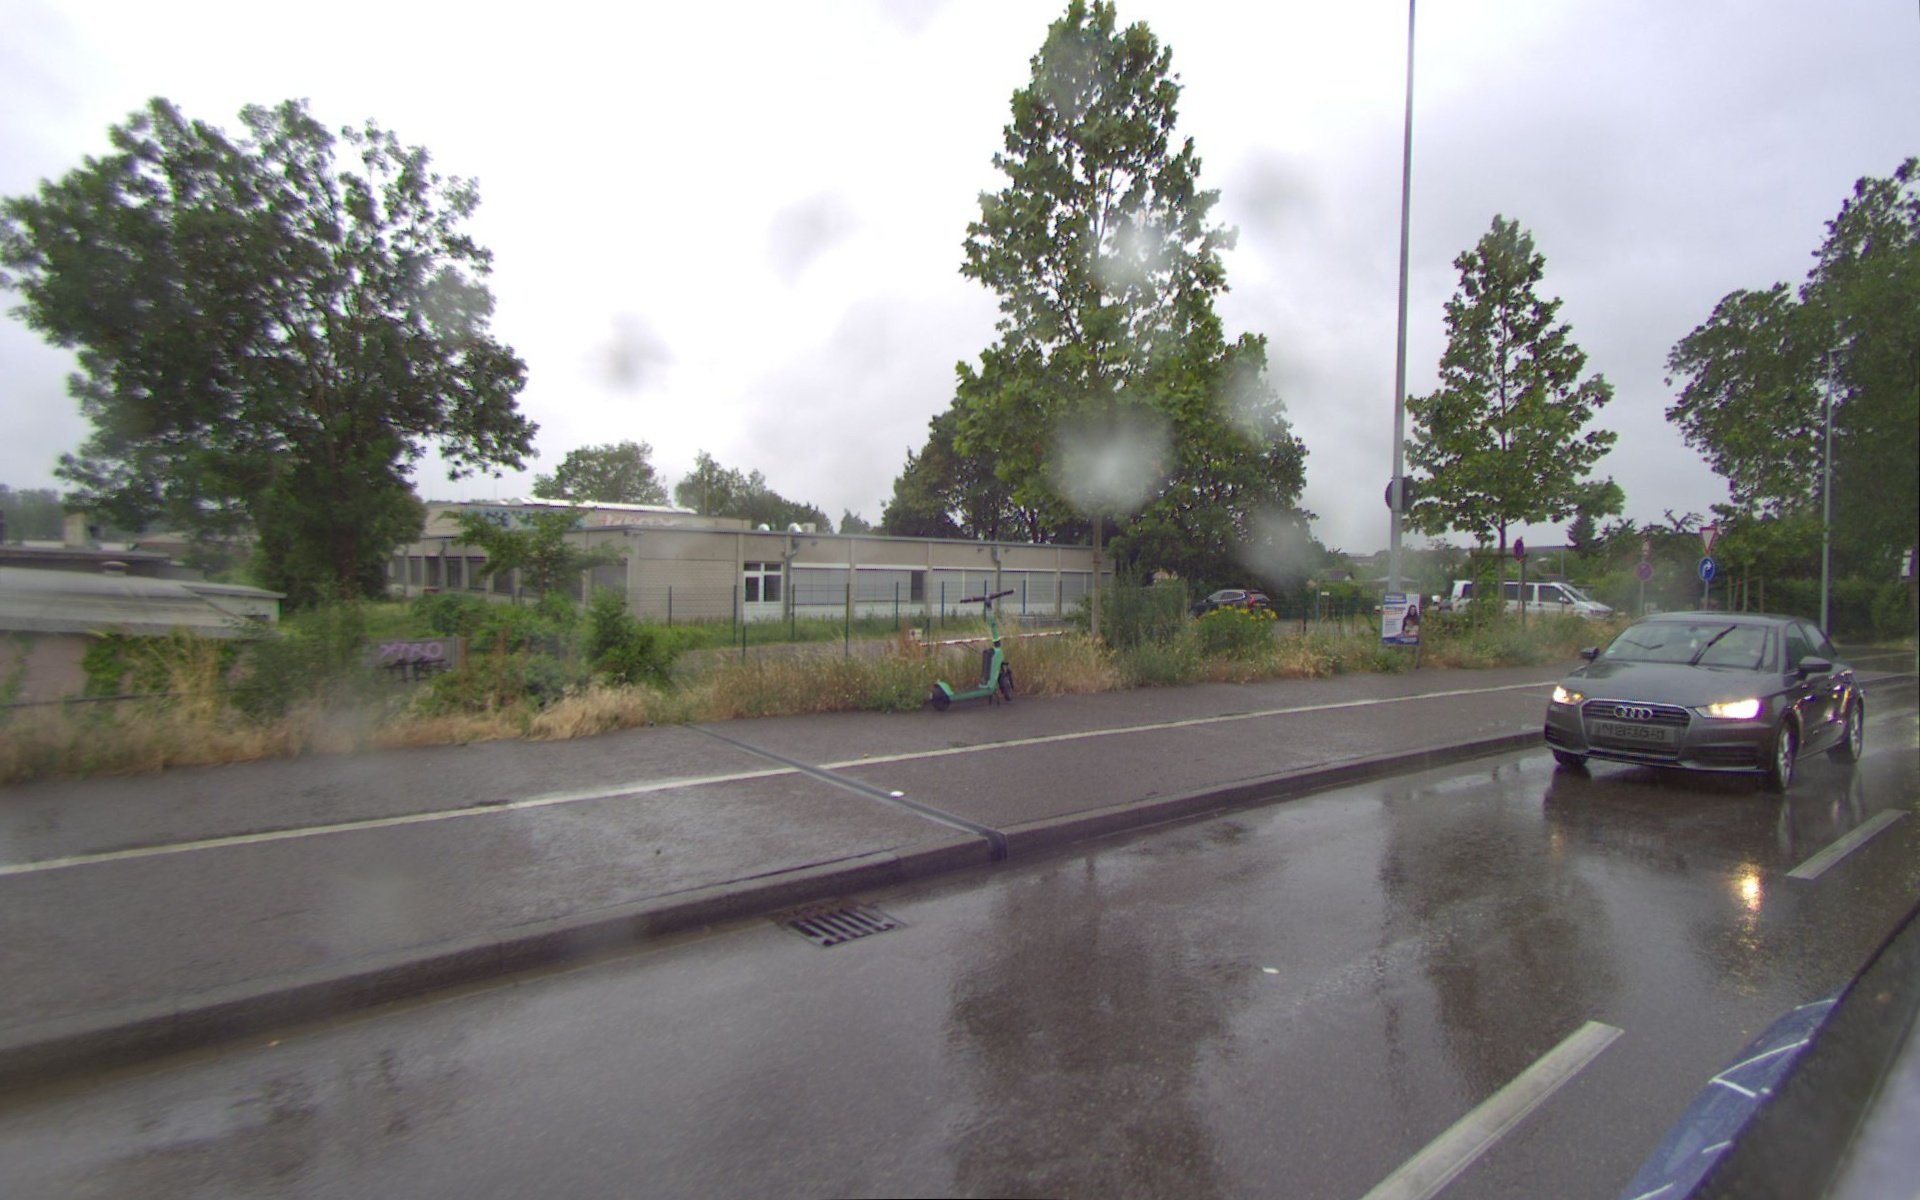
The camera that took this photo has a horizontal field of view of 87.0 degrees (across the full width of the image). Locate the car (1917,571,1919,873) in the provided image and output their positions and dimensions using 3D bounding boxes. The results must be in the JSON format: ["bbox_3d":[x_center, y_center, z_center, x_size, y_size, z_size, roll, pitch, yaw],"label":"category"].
[{"bbox_3d":[7.285,0.675,5.773,4.088,1.601,1.761,1,0,-33],"label":"car"}]

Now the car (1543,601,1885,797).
[{"bbox_3d":[6.937,0.752,9.204,3.564,1.383,1.601,1,1,-38],"label":"car"}]

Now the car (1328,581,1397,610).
[{"bbox_3d":[23.021,-0.263,57.960,1.319,1.604,3.555,0,0,-35],"label":"car"}]

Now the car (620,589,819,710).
[{"bbox_3d":[-3.115,0.526,12.700,1.319,1.304,3.246,0,0,-35],"label":"car"}]

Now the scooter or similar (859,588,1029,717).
[{"bbox_3d":[-0.128,0.486,10.224,1.878,1.214,0.367,0,1,-38],"label":"scooter or similar"}]

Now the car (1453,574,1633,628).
[{"bbox_3d":[20.408,0.011,35.611,1.972,1.747,5.168,0,0,-42],"label":"car"}]
